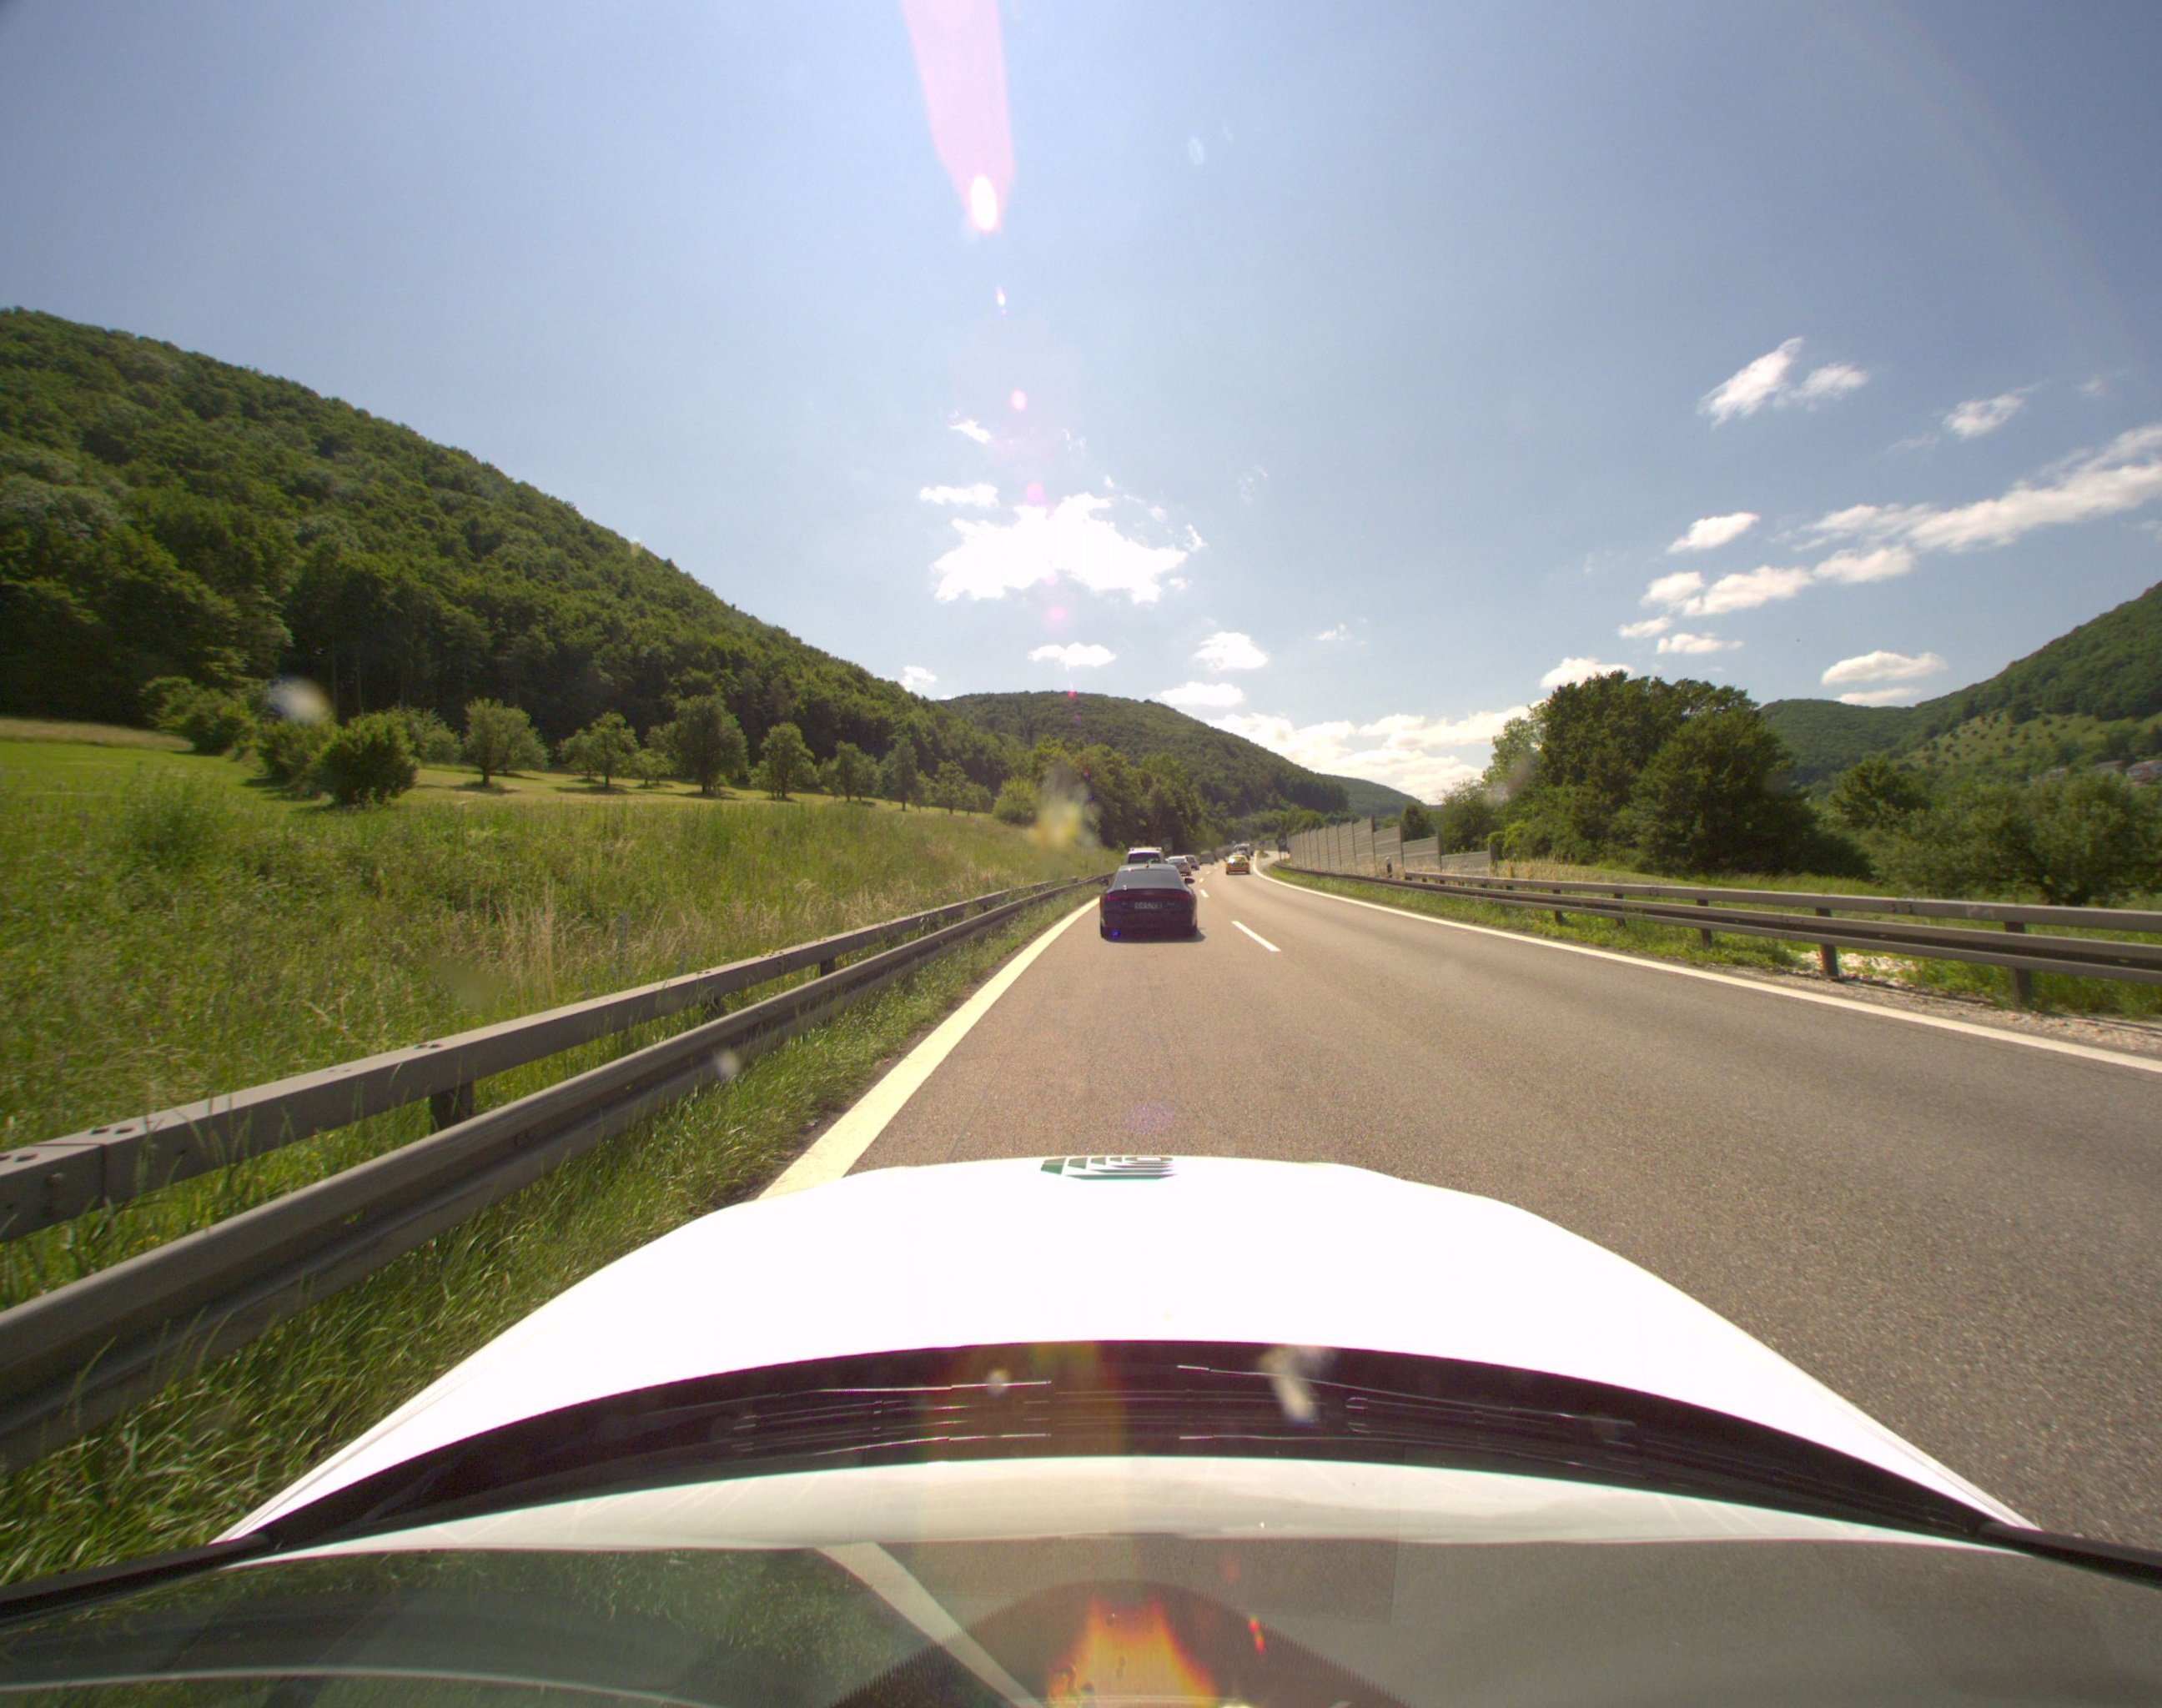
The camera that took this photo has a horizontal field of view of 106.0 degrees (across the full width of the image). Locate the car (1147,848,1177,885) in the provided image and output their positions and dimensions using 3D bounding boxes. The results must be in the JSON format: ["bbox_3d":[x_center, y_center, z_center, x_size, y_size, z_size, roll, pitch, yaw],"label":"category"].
[{"bbox_3d":[4.360,0.664,43.759,1.532,1.925,3.484,-1,-1,6],"label":"car"}]

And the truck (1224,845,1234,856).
[{"bbox_3d":[34.340,-0.745,188.665,2.050,2.605,5.635,0,0,14],"label":"truck"}]

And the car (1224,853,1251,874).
[{"bbox_3d":[12.184,0.687,63.195,1.866,1.499,4.014,-2,0,12],"label":"car"}]

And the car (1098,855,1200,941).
[{"bbox_3d":[1.384,0.809,16.593,1.803,1.514,3.519,-1,0,5],"label":"car"}]

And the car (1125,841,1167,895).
[{"bbox_3d":[2.537,0.498,31.427,1.513,1.968,3.520,0,0,6],"label":"car"}]

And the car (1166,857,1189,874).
[{"bbox_3d":[7.381,0.861,62.051,1.512,1.294,3.524,-1,0,10],"label":"car"}]

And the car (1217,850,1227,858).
[{"bbox_3d":[25.609,-0.001,148.050,1.510,1.553,3.527,0,0,14],"label":"car"}]

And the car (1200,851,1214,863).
[{"bbox_3d":[16.455,0.414,106.422,1.510,1.553,3.527,0,0,14],"label":"car"}]

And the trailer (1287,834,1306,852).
[{"bbox_3d":[48.378,-2.452,182.961,3.389,3.900,11.188,-2,0,12],"label":"trailer"}]

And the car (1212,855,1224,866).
[{"bbox_3d":[21.155,0.995,125.992,1.510,1.553,3.528,0,0,15],"label":"car"}]

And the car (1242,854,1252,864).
[{"bbox_3d":[25.590,0.779,125.641,1.477,1.570,3.011,-1,-1,13],"label":"car"}]

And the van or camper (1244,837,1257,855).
[{"bbox_3d":[38.488,-1.737,185.365,2.777,3.907,6.184,-1,-1,10],"label":"van or camper"}]

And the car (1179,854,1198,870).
[{"bbox_3d":[10.407,0.774,78.963,1.511,1.553,3.526,0,0,13],"label":"car"}]

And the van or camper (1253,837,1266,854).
[{"bbox_3d":[42.439,-1.977,193.597,2.777,3.841,6.184,-1,-1,10],"label":"van or camper"}]

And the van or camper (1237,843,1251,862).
[{"bbox_3d":[28.416,-0.216,141.848,2.413,3.155,5.221,-1,-1,12],"label":"van or camper"}]
